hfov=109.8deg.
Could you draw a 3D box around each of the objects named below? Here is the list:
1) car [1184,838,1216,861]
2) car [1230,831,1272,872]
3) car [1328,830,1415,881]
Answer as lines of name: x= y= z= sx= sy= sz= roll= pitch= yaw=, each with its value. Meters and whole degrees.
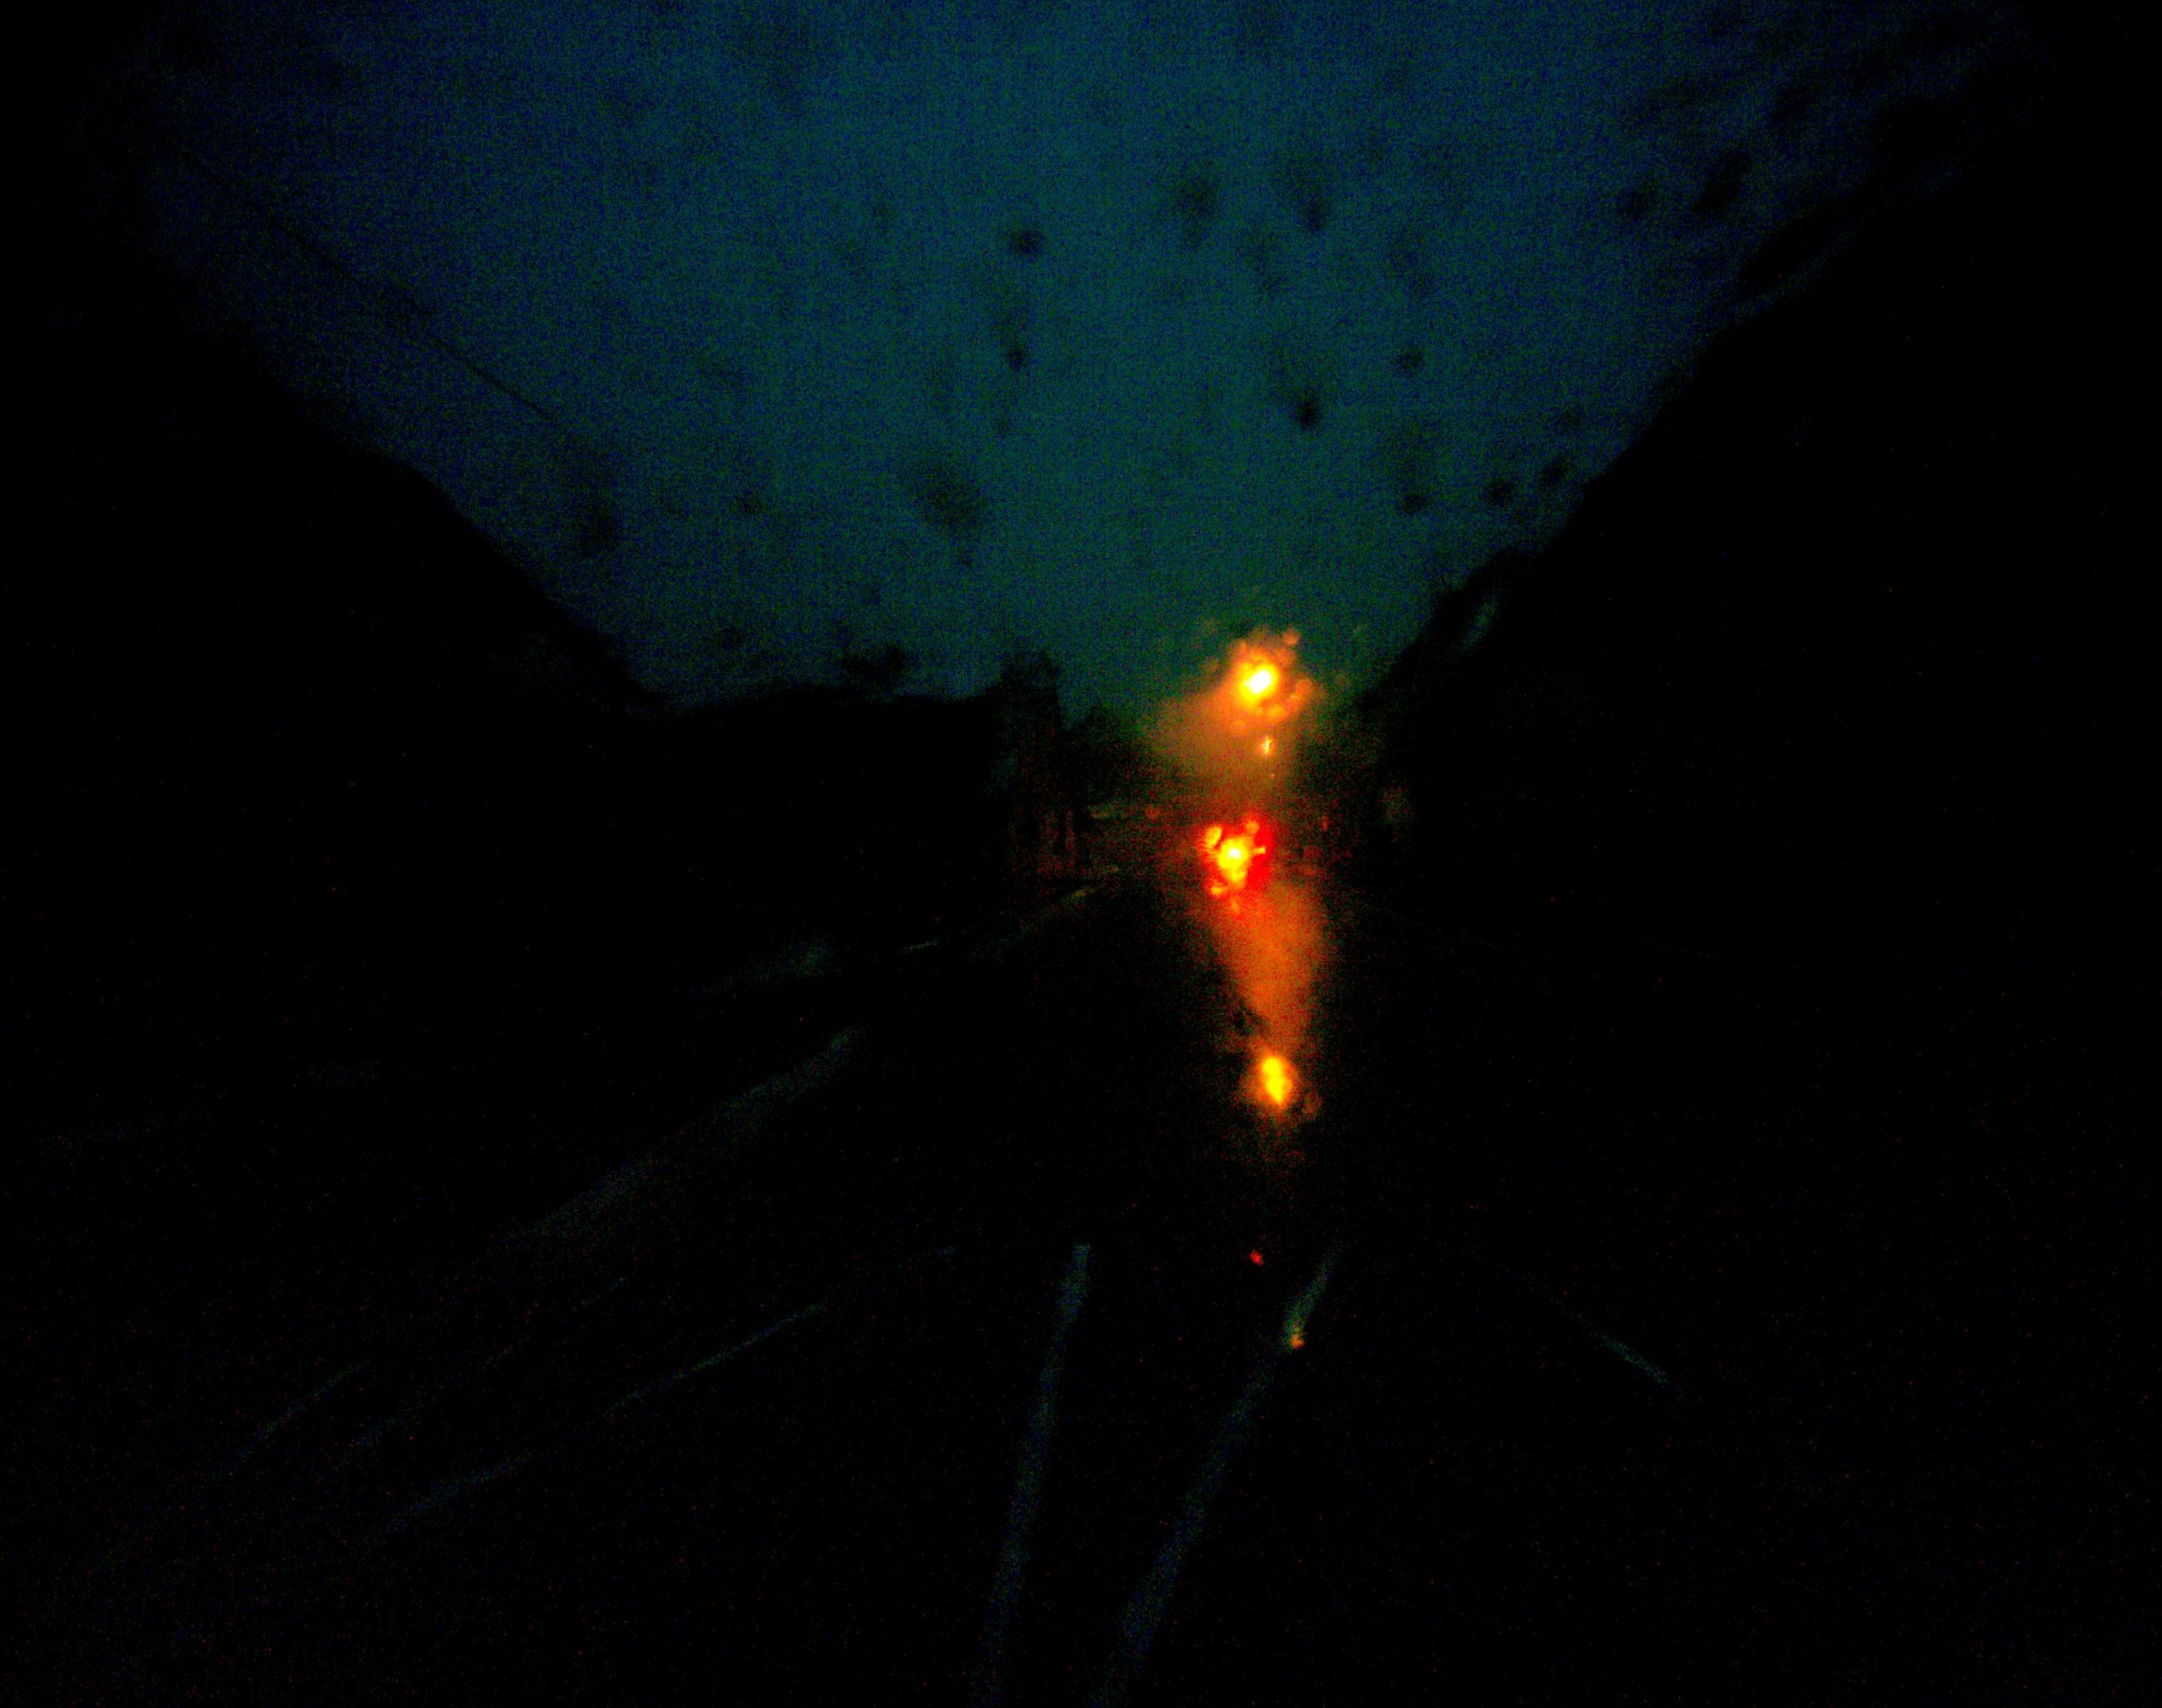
car: x=9.245 y=-0.386 z=58.764 sx=1.913 sy=1.473 sz=4.285 roll=-2 pitch=3 yaw=16
car: x=8.377 y=-0.176 z=37.674 sx=1.844 sy=1.678 sz=4.479 roll=-2 pitch=3 yaw=11
car: x=10.037 y=0.003 z=26.576 sx=1.997 sy=1.514 sz=4.193 roll=-4 pitch=1 yaw=10
